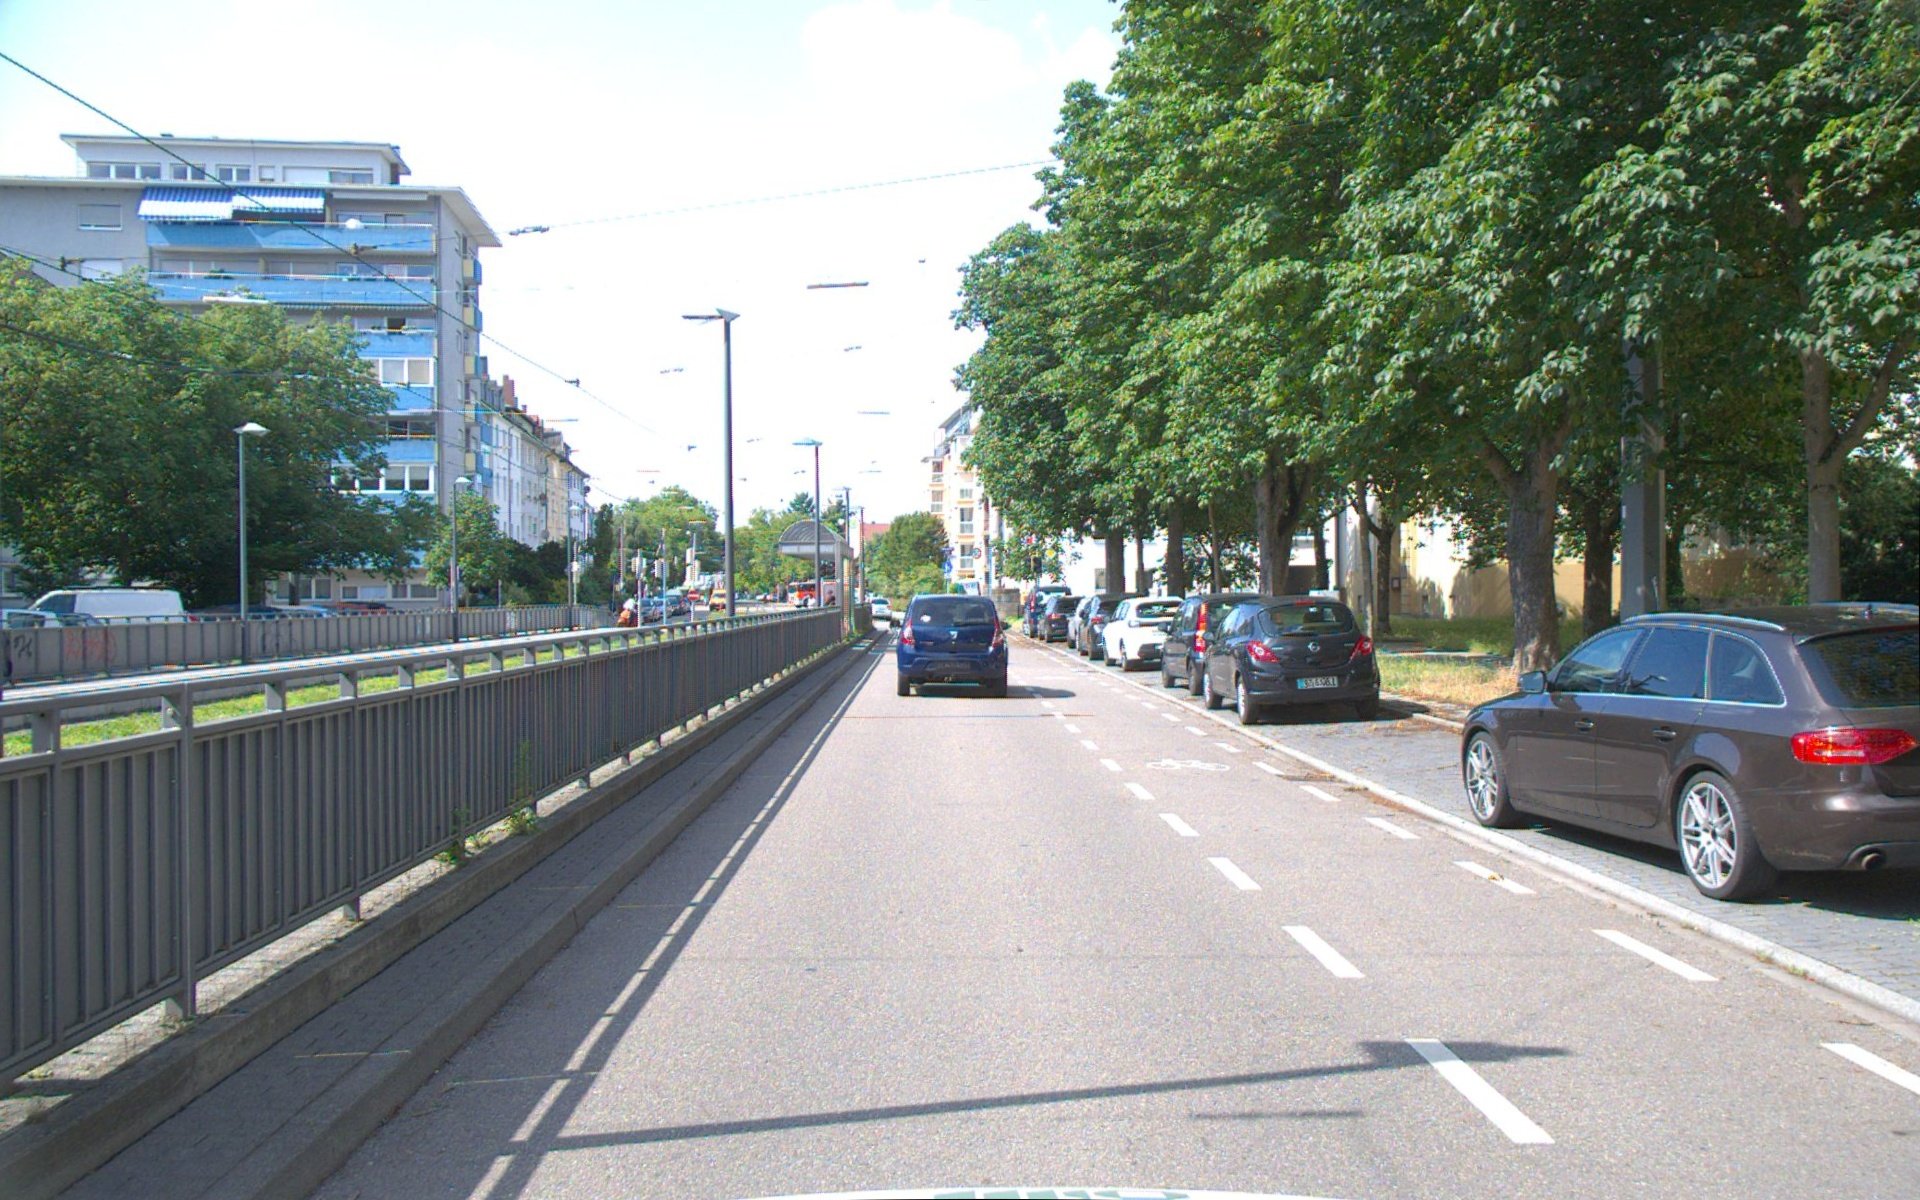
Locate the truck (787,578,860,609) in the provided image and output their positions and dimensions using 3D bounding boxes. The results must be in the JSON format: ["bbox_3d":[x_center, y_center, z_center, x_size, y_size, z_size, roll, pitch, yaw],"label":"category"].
[{"bbox_3d":[-16.002,-0.779,194.163,8.271,3.241,2.577,-3,0,-31],"label":"truck"}]

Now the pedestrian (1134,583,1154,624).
[{"bbox_3d":[7.871,0.137,70.912,0.729,1.726,0.767,-1,0,-1],"label":"pedestrian"}]

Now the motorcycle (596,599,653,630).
[{"bbox_3d":[-15.722,0.688,77.565,0.999,1.362,2.503,-1,0,40],"label":"motorcycle"}]

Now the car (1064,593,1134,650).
[{"bbox_3d":[3.860,0.571,46.339,1.558,1.470,3.597,-2,0,-1],"label":"car"}]

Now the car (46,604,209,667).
[{"bbox_3d":[-23.140,0.961,45.997,3.903,1.607,1.699,-1,0,-34],"label":"car"}]

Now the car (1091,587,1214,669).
[{"bbox_3d":[4.036,0.562,35.331,1.799,1.550,4.250,-3,0,-4],"label":"car"}]

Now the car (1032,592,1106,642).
[{"bbox_3d":[3.597,0.539,55.335,1.879,1.467,4.794,-3,1,-2],"label":"car"}]

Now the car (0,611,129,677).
[{"bbox_3d":[-22.668,1.077,40.514,3.954,1.511,1.590,-1,0,-35],"label":"car"}]

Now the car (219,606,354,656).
[{"bbox_3d":[-22.450,0.995,55.146,3.975,1.540,1.592,-1,0,-32],"label":"car"}]

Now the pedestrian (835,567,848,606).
[{"bbox_3d":[-5.182,-0.591,72.325,0.507,1.677,0.529,-2,-1,-4],"label":"pedestrian"}]

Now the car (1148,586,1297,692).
[{"bbox_3d":[4.149,0.605,26.595,1.525,1.486,3.555,-4,0,-4],"label":"car"}]

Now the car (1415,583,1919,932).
[{"bbox_3d":[4.470,0.706,9.807,1.796,1.492,4.826,-3,-1,-5],"label":"car"}]

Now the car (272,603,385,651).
[{"bbox_3d":[-22.973,0.960,60.216,3.620,1.607,1.631,-1,0,-33],"label":"car"}]

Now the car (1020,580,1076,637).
[{"bbox_3d":[3.188,0.278,60.683,1.785,1.929,4.184,-2,1,0],"label":"car"}]

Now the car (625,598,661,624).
[{"bbox_3d":[-20.978,0.733,109.639,1.955,1.674,3.995,1,-1,-5],"label":"car"}]

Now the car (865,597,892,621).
[{"bbox_3d":[-5.438,0.601,110.371,1.591,1.491,3.506,1,-1,-6],"label":"car"}]

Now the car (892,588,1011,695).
[{"bbox_3d":[-0.190,0.620,26.085,1.709,1.533,3.998,1,-1,-2],"label":"car"}]

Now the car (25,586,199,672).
[{"bbox_3d":[-22.313,0.719,43.541,3.902,2.106,2.027,-1,0,-33],"label":"car"}]

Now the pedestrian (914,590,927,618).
[{"bbox_3d":[-2.608,0.273,109.793,0.687,1.820,1.029,-4,0,-4],"label":"pedestrian"}]

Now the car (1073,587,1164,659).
[{"bbox_3d":[3.855,0.524,40.927,1.690,1.611,4.676,-2,0,-1],"label":"car"}]

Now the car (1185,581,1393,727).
[{"bbox_3d":[4.119,0.621,21.397,1.657,1.588,4.306,-4,0,-1],"label":"car"}]

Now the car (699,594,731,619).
[{"bbox_3d":[-25.354,0.625,171.068,1.968,2.315,4.798,4,0,-24],"label":"car"}]

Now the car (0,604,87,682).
[{"bbox_3d":[-22.334,0.989,37.828,3.960,1.668,1.802,-1,2,-39],"label":"car"}]

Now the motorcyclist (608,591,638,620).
[{"bbox_3d":[-15.773,0.257,77.460,0.924,1.362,0.981,-1,0,40],"label":"motorcyclist"}]
